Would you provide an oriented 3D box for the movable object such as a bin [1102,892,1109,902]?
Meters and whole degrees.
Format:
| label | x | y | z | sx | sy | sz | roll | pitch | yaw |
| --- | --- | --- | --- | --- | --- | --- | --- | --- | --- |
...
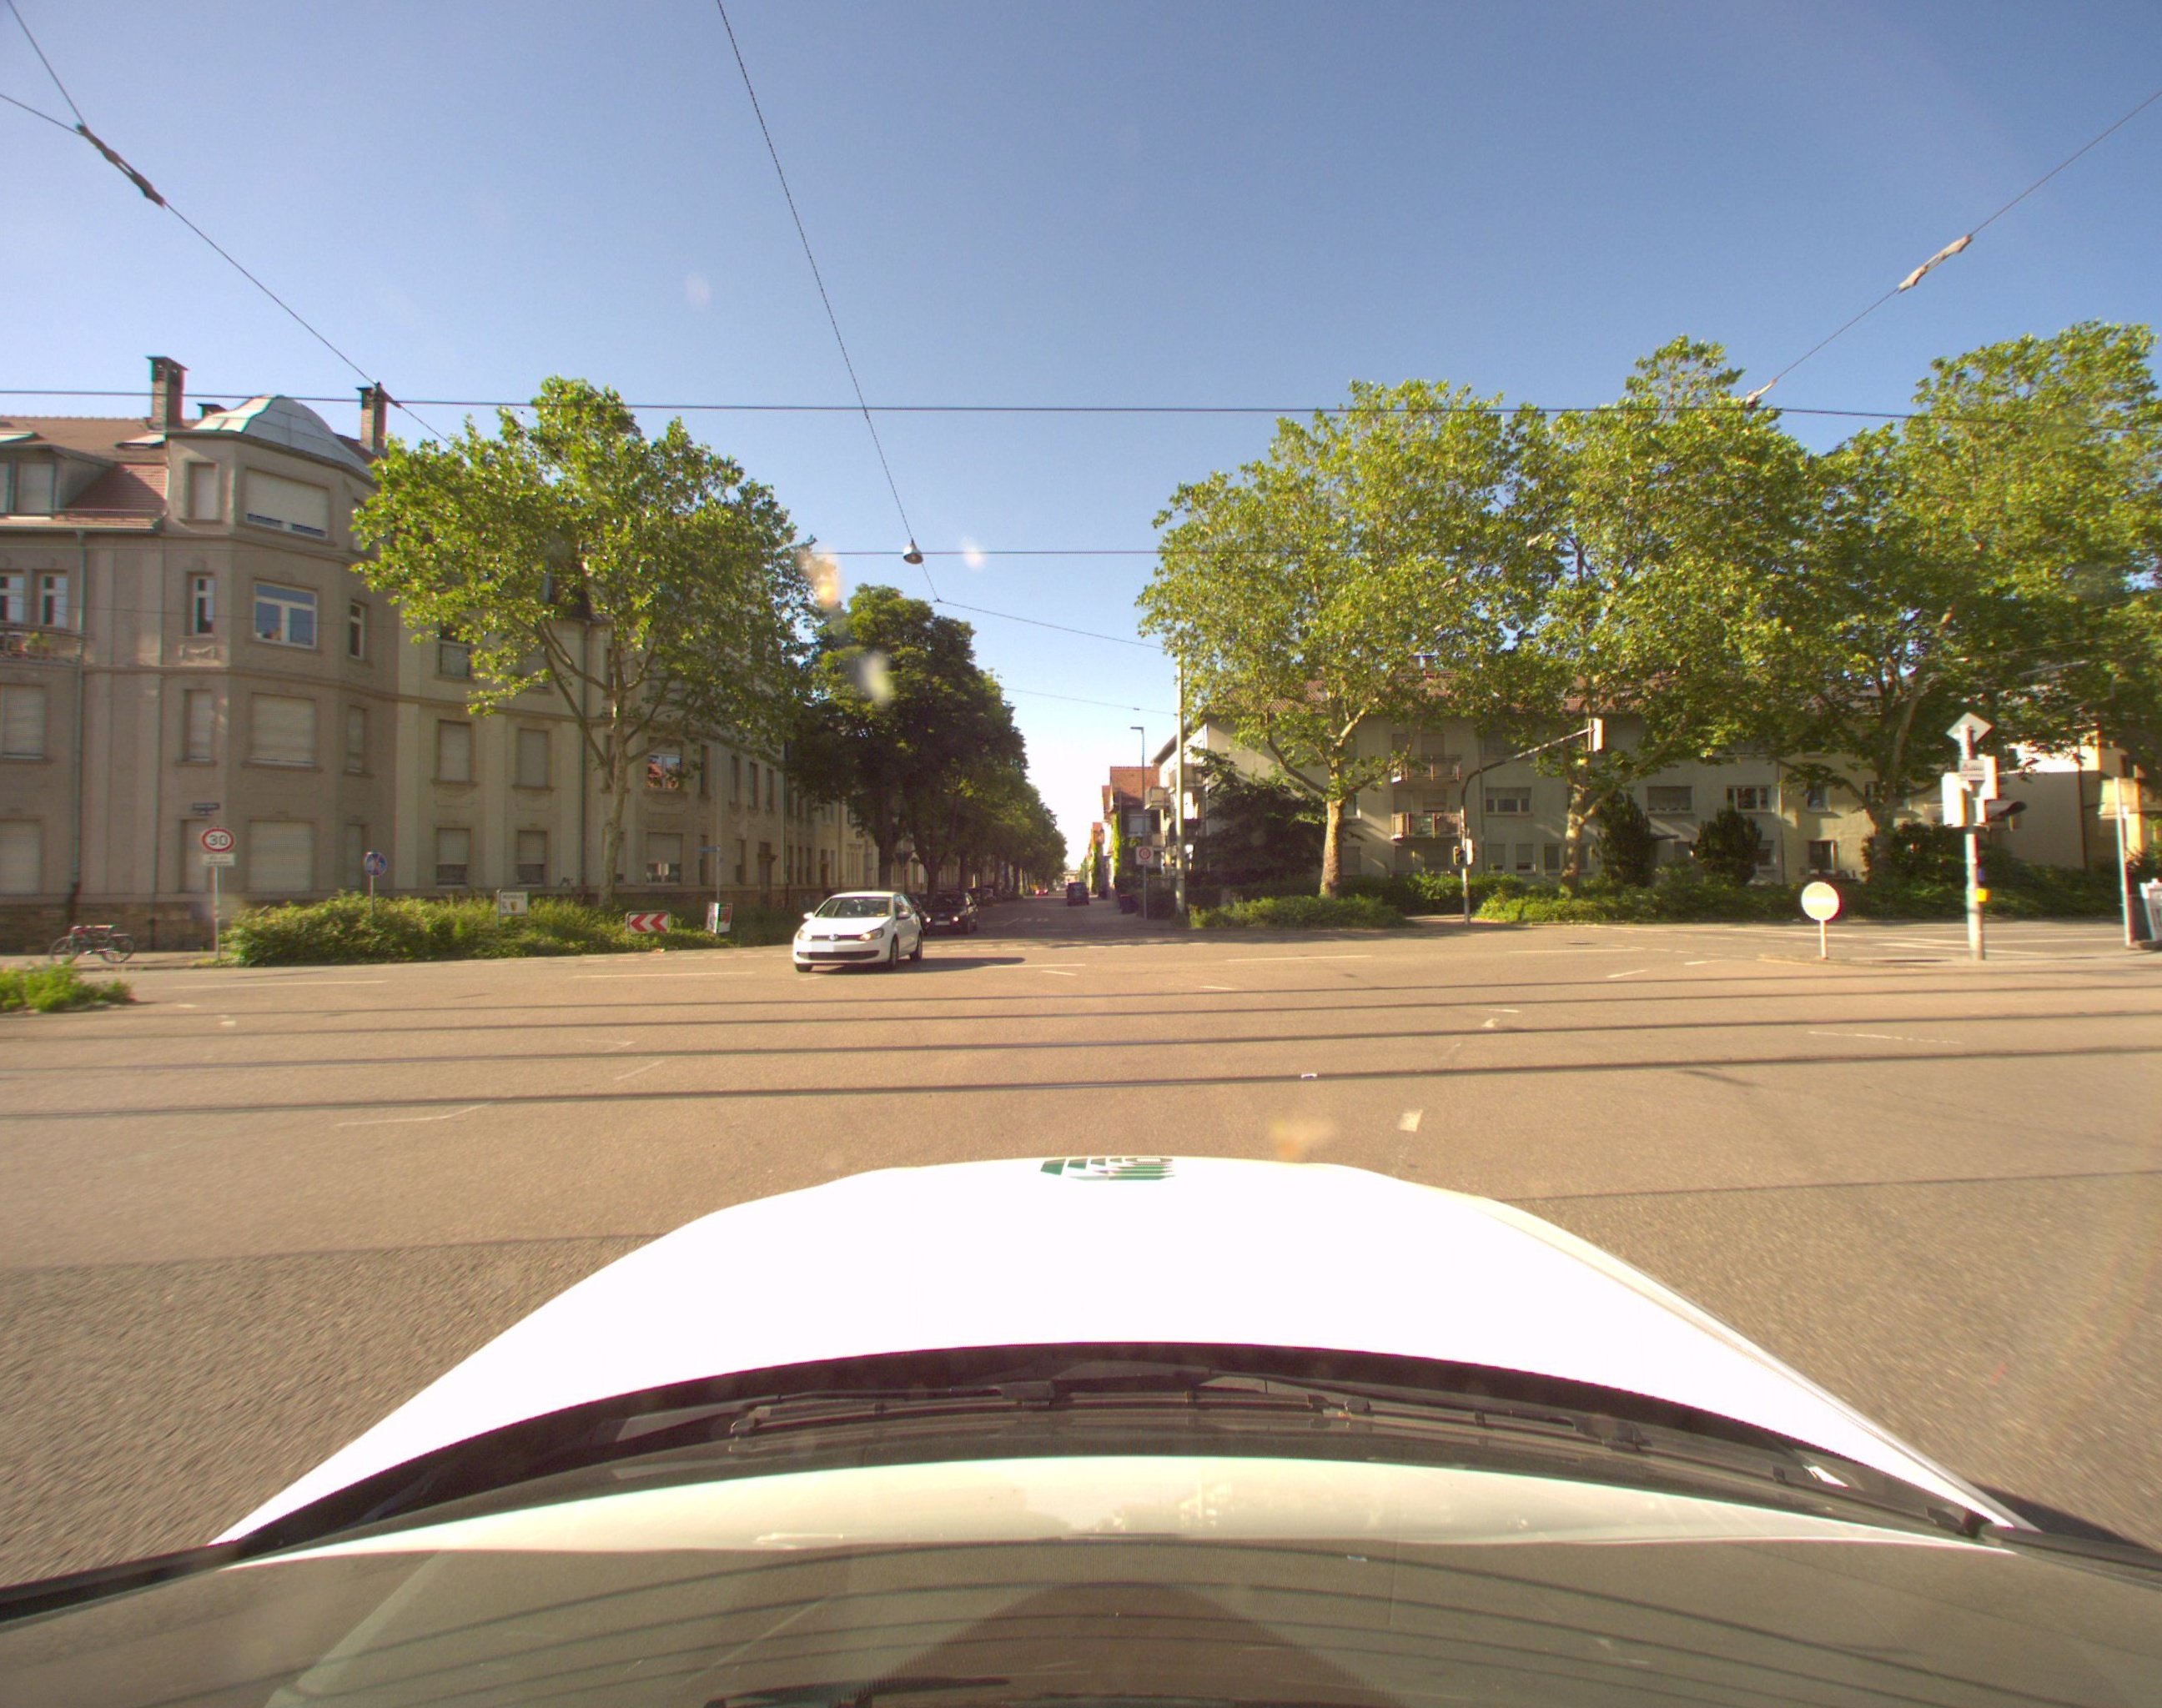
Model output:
| label | x | y | z | sx | sy | sz | roll | pitch | yaw |
| --- | --- | --- | --- | --- | --- | --- | --- | --- | --- |
| movable object such as a bin | 2.722 | 4.815 | 90.809 | 0.646 | 1.040 | 0.827 | -2 | -2 | -3 |

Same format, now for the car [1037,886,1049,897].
| label | x | y | z | sx | sy | sz | roll | pitch | yaw |
| --- | --- | --- | --- | --- | --- | --- | --- | --- | --- |
| car | -5.664 | 5.524 | 121.268 | 1.636 | 1.508 | 3.700 | -2 | -2 | -1 |

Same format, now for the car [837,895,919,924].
| label | x | y | z | sx | sy | sz | roll | pitch | yaw |
| --- | --- | --- | --- | --- | --- | --- | --- | --- | --- |
| car | -10.393 | 2.833 | 41.912 | 3.878 | 1.415 | 1.611 | -1 | -3 | -7 |

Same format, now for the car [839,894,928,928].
| label | x | y | z | sx | sy | sz | roll | pitch | yaw |
| --- | --- | --- | --- | --- | --- | --- | --- | --- | --- |
| car | -9.579 | 2.763 | 39.687 | 3.871 | 1.476 | 1.614 | -2 | -3 | -1 |

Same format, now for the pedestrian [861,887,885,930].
| label | x | y | z | sx | sy | sz | roll | pitch | yaw |
| --- | --- | --- | --- | --- | --- | --- | --- | --- | --- |
| pedestrian | -8.248 | 2.147 | 32.261 | 0.689 | 1.682 | 0.682 | -1 | -3 | 10 |

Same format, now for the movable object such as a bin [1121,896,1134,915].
| label | x | y | z | sx | sy | sz | roll | pitch | yaw |
| --- | --- | --- | --- | --- | --- | --- | --- | --- | --- |
| movable object such as a bin | 2.647 | 2.934 | 46.491 | 0.595 | 1.044 | 0.706 | -4 | -2 | -3 |

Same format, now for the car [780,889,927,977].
| label | x | y | z | sx | sy | sz | roll | pitch | yaw |
| --- | --- | --- | --- | --- | --- | --- | --- | --- | --- |
| car | -4.238 | 1.452 | 15.849 | 1.801 | 1.458 | 3.996 | -1 | -3 | -1 |

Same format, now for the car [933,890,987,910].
| label | x | y | z | sx | sy | sz | roll | pitch | yaw |
| --- | --- | --- | --- | --- | --- | --- | --- | --- | --- |
| car | -9.592 | 3.622 | 64.854 | 3.973 | 1.567 | 1.863 | 0 | -3 | 0 |

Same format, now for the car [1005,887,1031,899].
| label | x | y | z | sx | sy | sz | roll | pitch | yaw |
| --- | --- | --- | --- | --- | --- | --- | --- | --- | --- |
| car | -9.758 | 6.070 | 126.333 | 3.979 | 1.761 | 1.795 | 1 | -3 | -5 |

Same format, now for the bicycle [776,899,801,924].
| label | x | y | z | sx | sy | sz | roll | pitch | yaw |
| --- | --- | --- | --- | --- | --- | --- | --- | --- | --- |
| bicycle | -14.679 | 2.848 | 40.859 | 0.512 | 1.154 | 1.981 | 1 | -2 | 0 |

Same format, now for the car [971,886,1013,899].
| label | x | y | z | sx | sy | sz | roll | pitch | yaw |
| --- | --- | --- | --- | --- | --- | --- | --- | --- | --- |
| car | -9.931 | 4.315 | 91.469 | 4.520 | 1.503 | 1.890 | 0 | -3 | -2 |

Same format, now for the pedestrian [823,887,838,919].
| label | x | y | z | sx | sy | sz | roll | pitch | yaw |
| --- | --- | --- | --- | --- | --- | --- | --- | --- | --- |
| pedestrian | -13.502 | 2.630 | 43.871 | 0.457 | 1.658 | 0.896 | -1 | -3 | 7 |

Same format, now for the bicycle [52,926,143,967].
| label | x | y | z | sx | sy | sz | roll | pitch | yaw |
| --- | --- | --- | --- | --- | --- | --- | --- | --- | --- |
| bicycle | -23.465 | 2.190 | 19.443 | 1.431 | 0.905 | 0.496 | -1 | -3 | -5 |

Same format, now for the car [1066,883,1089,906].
| label | x | y | z | sx | sy | sz | roll | pitch | yaw |
| --- | --- | --- | --- | --- | --- | --- | --- | --- | --- |
| car | -0.275 | 3.468 | 69.968 | 1.859 | 1.916 | 4.780 | 0 | -2 | 0 |

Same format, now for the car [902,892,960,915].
| label | x | y | z | sx | sy | sz | roll | pitch | yaw |
| --- | --- | --- | --- | --- | --- | --- | --- | --- | --- |
| car | -9.742 | 3.226 | 53.085 | 3.421 | 1.452 | 1.703 | 0 | -3 | 1 |

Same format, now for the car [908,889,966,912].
| label | x | y | z | sx | sy | sz | roll | pitch | yaw |
| --- | --- | --- | --- | --- | --- | --- | --- | --- | --- |
| car | -10.670 | 3.447 | 60.648 | 3.973 | 1.508 | 1.722 | -2 | -3 | 0 |

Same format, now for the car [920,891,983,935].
| label | x | y | z | sx | sy | sz | roll | pitch | yaw |
| --- | --- | --- | --- | --- | --- | --- | --- | --- | --- |
| car | -4.650 | 2.090 | 29.676 | 1.655 | 1.464 | 3.807 | -1 | -2 | 0 |

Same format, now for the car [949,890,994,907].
| label | x | y | z | sx | sy | sz | roll | pitch | yaw |
| --- | --- | --- | --- | --- | --- | --- | --- | --- | --- |
| car | -10.273 | 4.224 | 76.856 | 3.976 | 1.592 | 1.858 | 0 | -2 | -2 |

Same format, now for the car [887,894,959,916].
| label | x | y | z | sx | sy | sz | roll | pitch | yaw |
| --- | --- | --- | --- | --- | --- | --- | --- | --- | --- |
| car | -9.844 | 3.174 | 50.918 | 4.200 | 1.349 | 1.702 | 0 | -3 | -1 |

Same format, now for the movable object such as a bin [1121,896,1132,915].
| label | x | y | z | sx | sy | sz | roll | pitch | yaw |
| --- | --- | --- | --- | --- | --- | --- | --- | --- | --- |
| movable object such as a bin | 2.650 | 2.983 | 47.228 | 0.482 | 1.044 | 0.656 | -4 | -2 | -3 |
